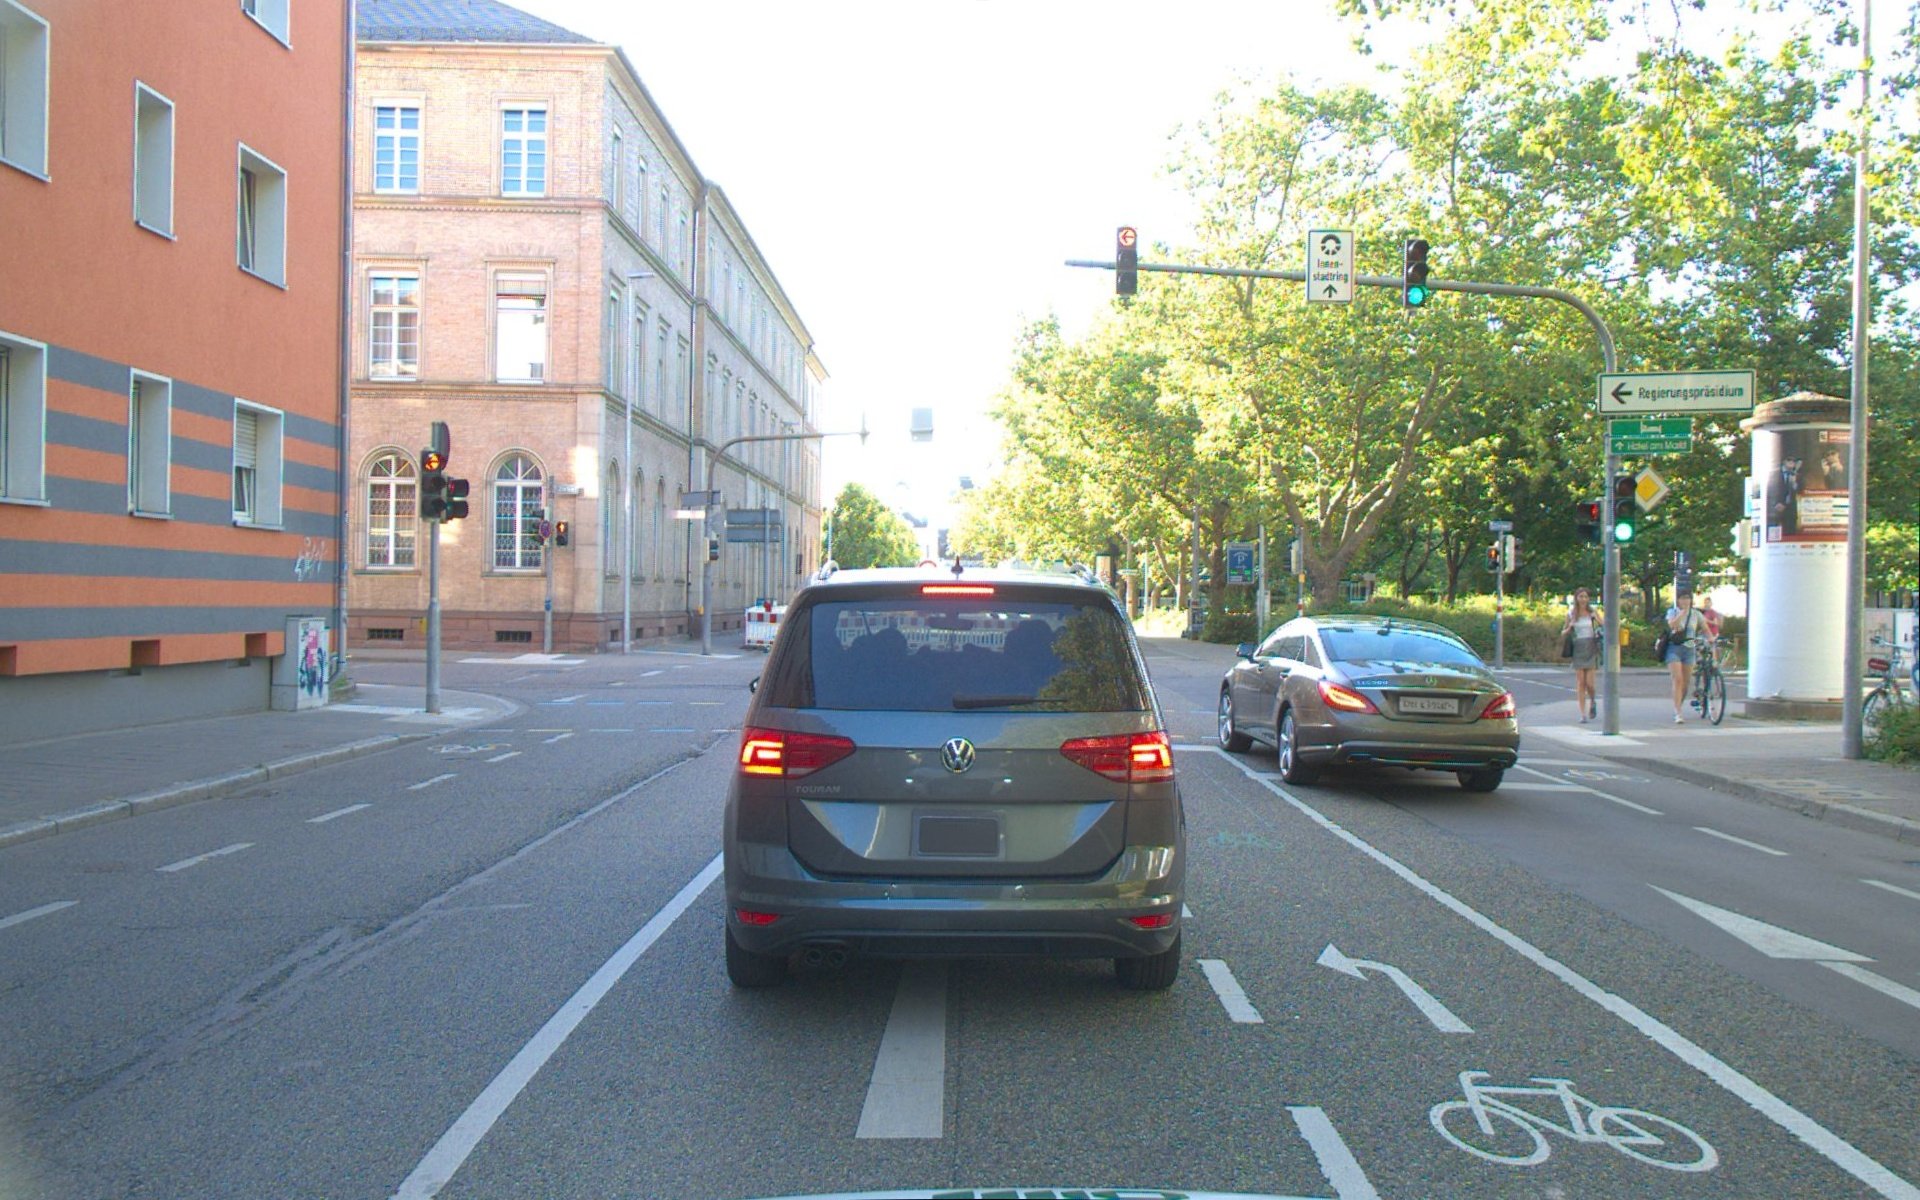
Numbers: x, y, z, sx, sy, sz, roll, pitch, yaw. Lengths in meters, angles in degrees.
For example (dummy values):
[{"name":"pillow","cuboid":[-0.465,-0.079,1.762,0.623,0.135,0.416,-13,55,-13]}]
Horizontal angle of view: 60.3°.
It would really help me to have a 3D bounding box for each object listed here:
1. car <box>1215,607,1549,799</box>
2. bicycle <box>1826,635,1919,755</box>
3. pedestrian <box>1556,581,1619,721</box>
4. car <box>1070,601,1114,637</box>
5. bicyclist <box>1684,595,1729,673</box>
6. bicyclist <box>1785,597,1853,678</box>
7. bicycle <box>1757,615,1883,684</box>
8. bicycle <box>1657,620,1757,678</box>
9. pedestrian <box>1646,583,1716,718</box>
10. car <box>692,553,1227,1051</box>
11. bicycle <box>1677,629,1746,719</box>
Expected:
[{"name":"car","cuboid":[3.664,0.818,15.237,1.806,1.454,4.516,1,0,-2]},{"name":"bicycle","cuboid":[10.200,1.000,17.358,1.935,1.210,0.528,1,0,-1]},{"name":"pedestrian","cuboid":[8.441,0.674,22.276,0.716,1.840,0.909,0,-1,17]},{"name":"car","cuboid":[6.014,0.853,75.671,1.655,1.465,3.902,4,0,0]},{"name":"bicyclist","cuboid":[17.008,0.767,37.696,0.695,1.727,0.675,1,0,0]},{"name":"bicyclist","cuboid":[17.826,0.766,34.345,0.944,1.643,0.870,1,0,2]},{"name":"bicycle","cuboid":[17.824,1.018,34.307,2.241,1.349,0.660,1,0,1]},{"name":"bicycle","cuboid":[17.022,1.114,37.692,1.989,1.242,0.599,1,0,0]},{"name":"pedestrian","cuboid":[9.559,0.653,21.953,0.668,1.727,0.971,1,0,15]},{"name":"car","cuboid":[0.060,0.677,7.509,1.772,1.640,4.001,0,0,2]},{"name":"bicycle","cuboid":[9.945,0.958,21.927,0.513,1.119,1.742,1,0,15]}]
